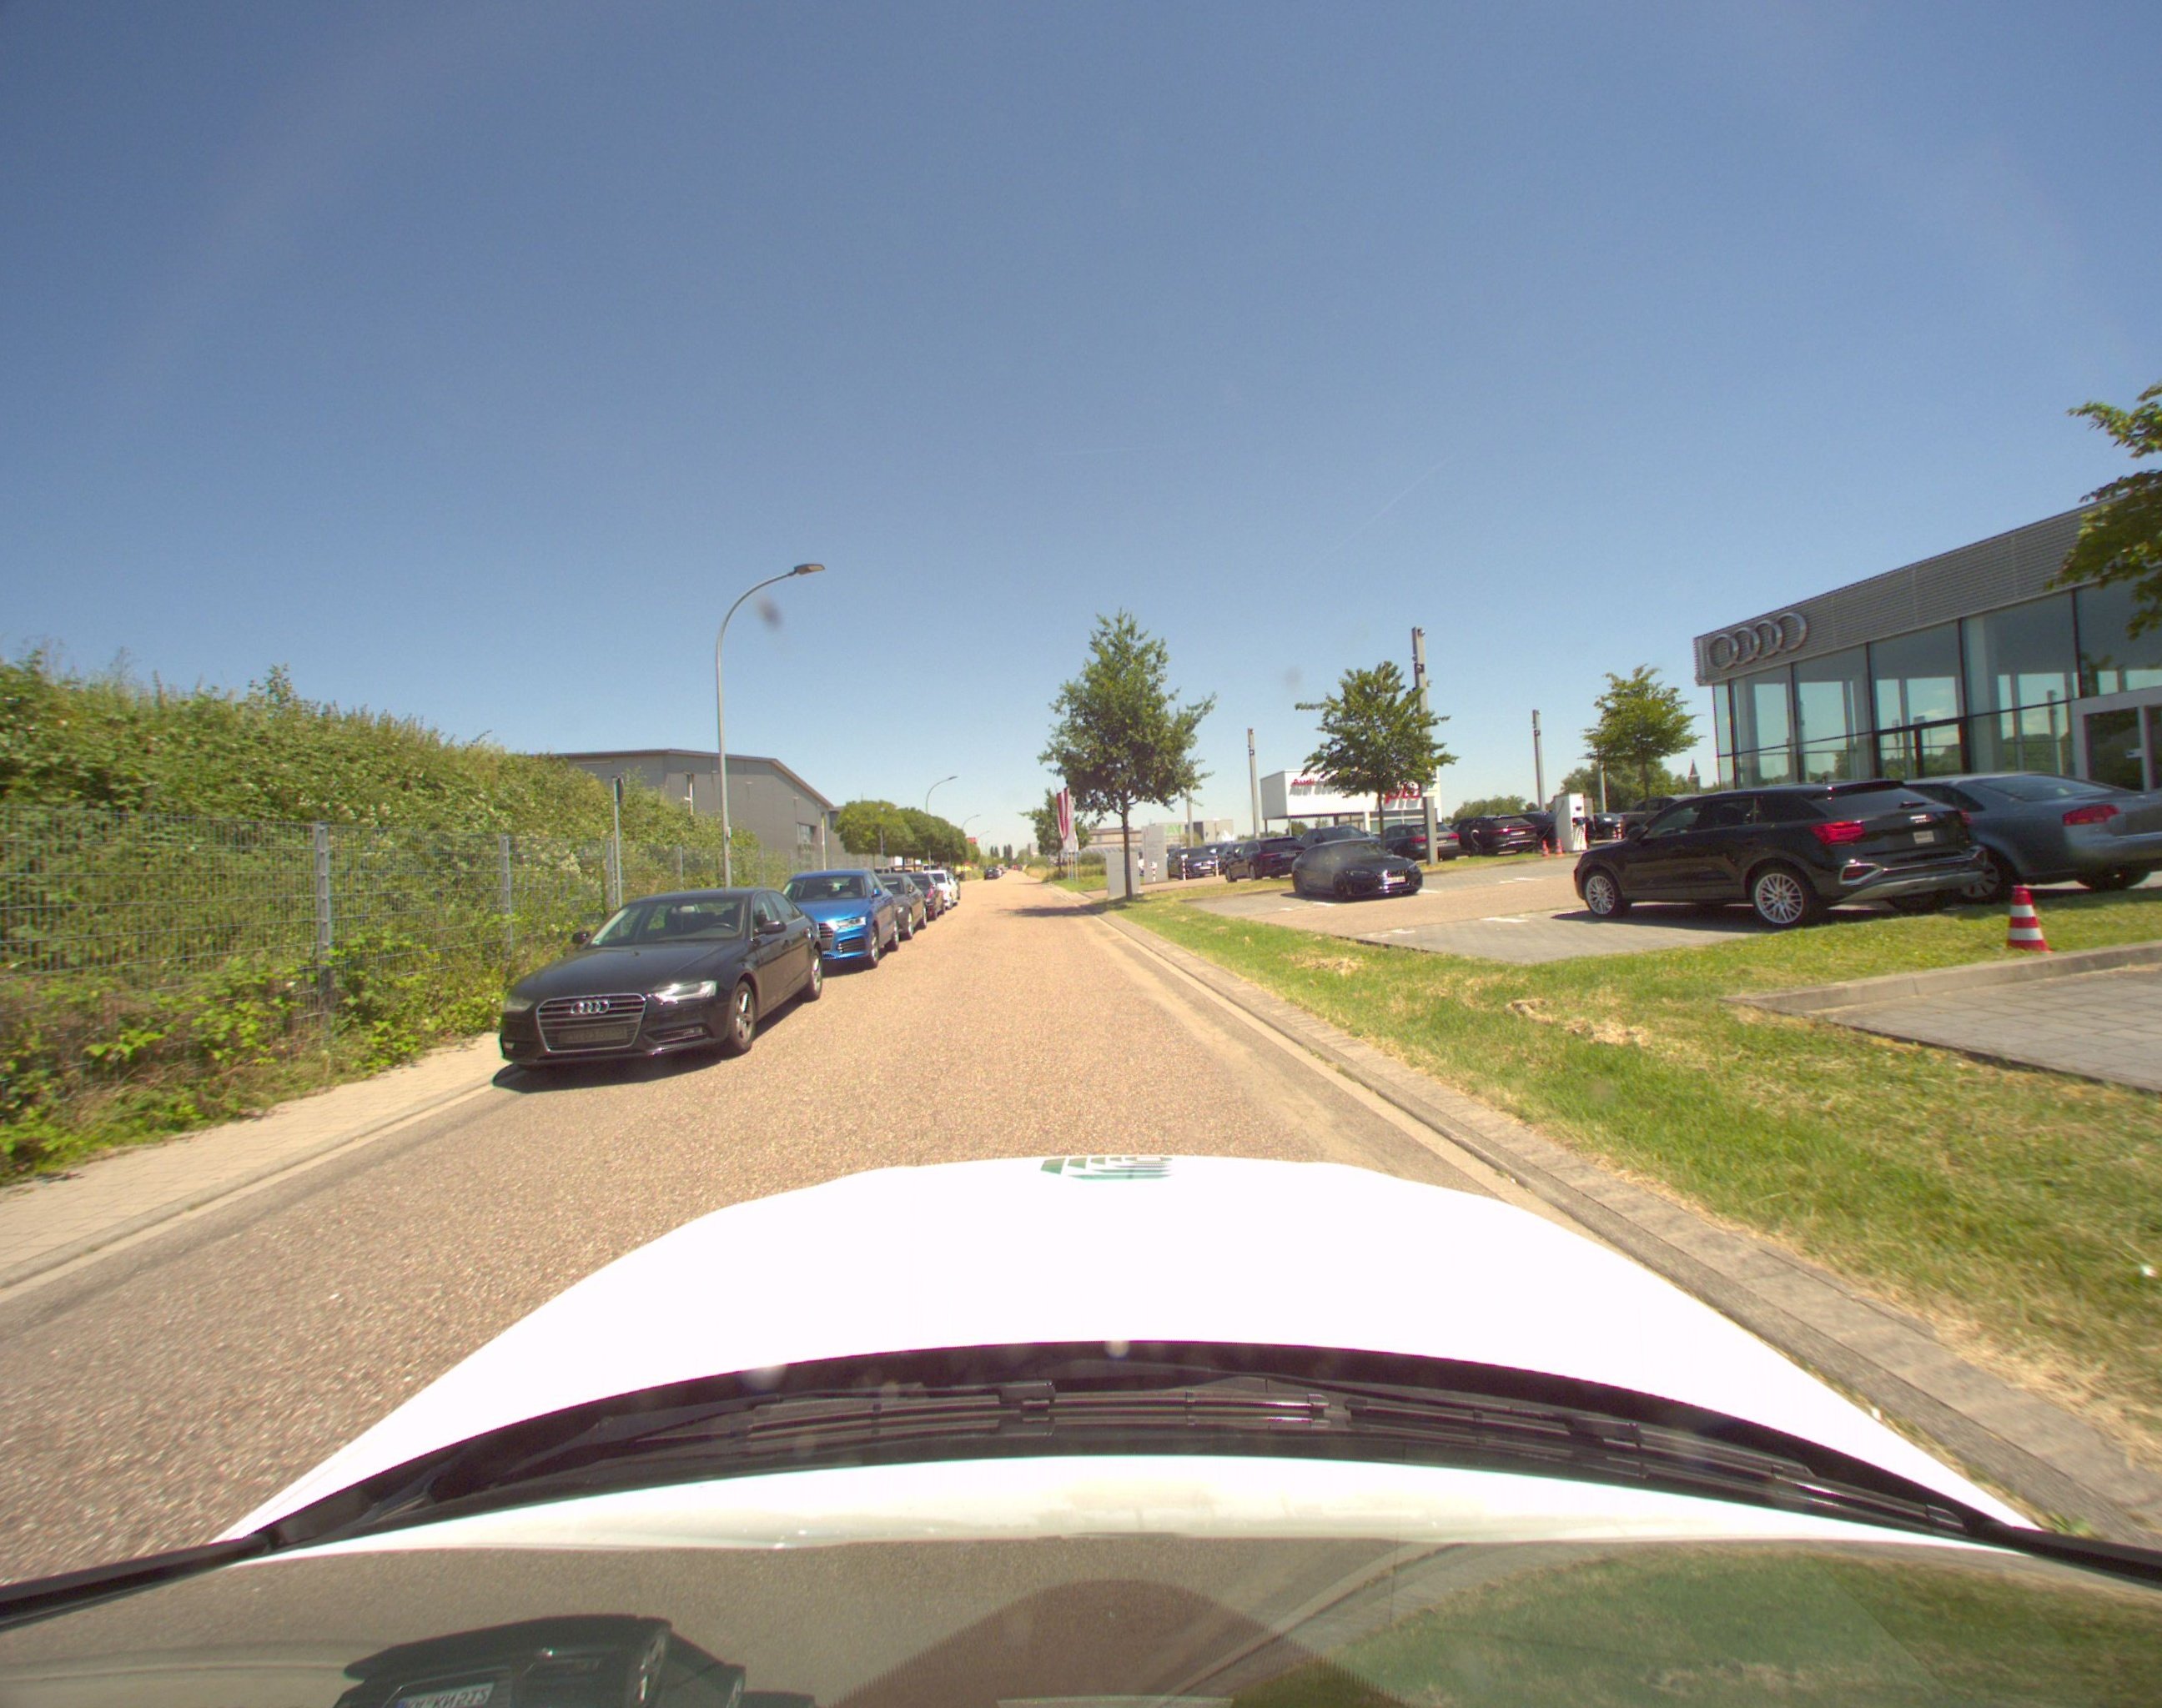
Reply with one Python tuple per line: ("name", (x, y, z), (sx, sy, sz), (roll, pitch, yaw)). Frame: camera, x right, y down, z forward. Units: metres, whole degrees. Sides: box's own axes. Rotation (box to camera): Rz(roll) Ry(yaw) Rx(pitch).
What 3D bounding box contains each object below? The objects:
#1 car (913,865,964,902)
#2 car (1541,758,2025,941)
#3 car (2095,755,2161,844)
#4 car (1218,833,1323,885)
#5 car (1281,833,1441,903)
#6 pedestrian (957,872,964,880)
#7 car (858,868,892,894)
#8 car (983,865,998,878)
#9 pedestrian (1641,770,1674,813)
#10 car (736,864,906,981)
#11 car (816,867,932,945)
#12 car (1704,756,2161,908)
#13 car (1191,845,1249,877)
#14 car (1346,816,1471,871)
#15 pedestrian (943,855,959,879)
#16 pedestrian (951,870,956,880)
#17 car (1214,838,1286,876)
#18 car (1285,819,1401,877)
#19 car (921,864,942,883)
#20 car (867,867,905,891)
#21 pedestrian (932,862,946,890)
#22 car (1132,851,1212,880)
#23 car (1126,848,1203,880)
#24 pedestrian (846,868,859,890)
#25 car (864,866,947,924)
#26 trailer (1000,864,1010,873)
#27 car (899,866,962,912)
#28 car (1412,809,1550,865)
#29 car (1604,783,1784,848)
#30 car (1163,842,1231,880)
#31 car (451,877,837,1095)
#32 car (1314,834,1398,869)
("car", (-6.456, 1.322, 37.257), (1.821, 1.500, 4.517), (-3, -1, -5))
("car", (7.932, -0.019, 9.888), (1.885, 1.571, 4.218), (-6, -1, -6))
("car", (18.015, -0.975, 11.355), (1.959, 1.366, 4.457), (-6, -1, -6))
("car", (6.308, 0.248, 27.797), (1.958, 1.457, 4.976), (-4, -2, -5))
("car", (6.797, 0.298, 20.441), (1.958, 1.366, 4.712), (-6, 1, -5))
("pedestrian", (-15.346, 2.816, 103.892), (0.748, 1.099, 0.646), (0, -2, -1))
("car", (-12.724, 1.642, 50.437), (1.682, 1.500, 3.692), (-2, -1, -10))
("car", (-12.406, 2.375, 111.763), (1.924, 1.567, 4.180), (-3, -1, -6))
("pedestrian", (25.159, -2.711, 35.543), (0.768, 1.776, 0.745), (-3, -1, 0))
("car", (-4.186, 1.014, 13.843), (1.822, 1.570, 4.377), (-3, -1, -6))
("car", (-4.684, 1.108, 19.102), (1.821, 1.500, 4.512), (-3, -1, -5))
("car", (10.341, -0.227, 9.903), (1.959, 1.366, 4.218), (-6, -1, -6))
("car", (7.697, 0.406, 45.653), (2.021, 1.590, 4.771), (-4, -1, -5))
("car", (11.258, -0.290, 28.451), (1.958, 1.457, 4.976), (-4, -2, -5))
("pedestrian", (-10.863, 1.063, 67.882), (0.832, 1.973, 0.971), (-2, -2, 35))
("pedestrian", (-14.655, 2.402, 93.487), (0.476, 1.150, 0.555), (0, -4, 5))
("car", (8.230, 0.191, 40.174), (1.893, 1.573, 5.466), (-6, -1, -5))
("car", (8.959, -0.123, 28.370), (1.958, 1.598, 4.976), (-4, -2, -5))
("car", (-15.931, 2.056, 87.095), (1.835, 2.019, 5.113), (0, -1, -7))
("car", (-13.234, 1.677, 55.418), (1.762, 1.573, 4.532), (-1, -1, -4))
("pedestrian", (-9.284, 1.463, 53.354), (0.743, 1.802, 1.133), (0, -1, -3))
("car", (5.568, 0.707, 50.114), (4.525, 1.457, 2.026), (-4, -1, -7))
("car", (5.360, 0.639, 52.802), (4.525, 1.693, 2.026), (-4, -1, -7))
("pedestrian", (-18.198, 1.957, 64.824), (0.839, 1.713, 0.963), (-1, -1, -5))
("car", (-5.256, 1.180, 24.940), (1.821, 1.500, 4.512), (-3, -1, -5))
("trailer", (-19.132, 3.637, 205.446), (2.197, 2.137, 4.277), (-3, -1, -5))
("car", (-5.544, 1.266, 30.431), (1.821, 1.500, 4.251), (-3, -1, -5))
("car", (13.743, -0.516, 28.402), (1.958, 1.457, 4.976), (-4, -2, -5))
("car", (20.515, -1.200, 27.622), (1.958, 1.621, 4.976), (-4, -2, -5))
("car", (5.535, 0.370, 39.570), (2.021, 1.514, 5.230), (-6, -1, -5))
("car", (-3.915, 1.034, 8.349), (1.822, 1.455, 4.571), (-3, -1, -6))
("car", (13.634, -0.084, 40.741), (2.021, 1.456, 5.069), (-6, -1, -5))
